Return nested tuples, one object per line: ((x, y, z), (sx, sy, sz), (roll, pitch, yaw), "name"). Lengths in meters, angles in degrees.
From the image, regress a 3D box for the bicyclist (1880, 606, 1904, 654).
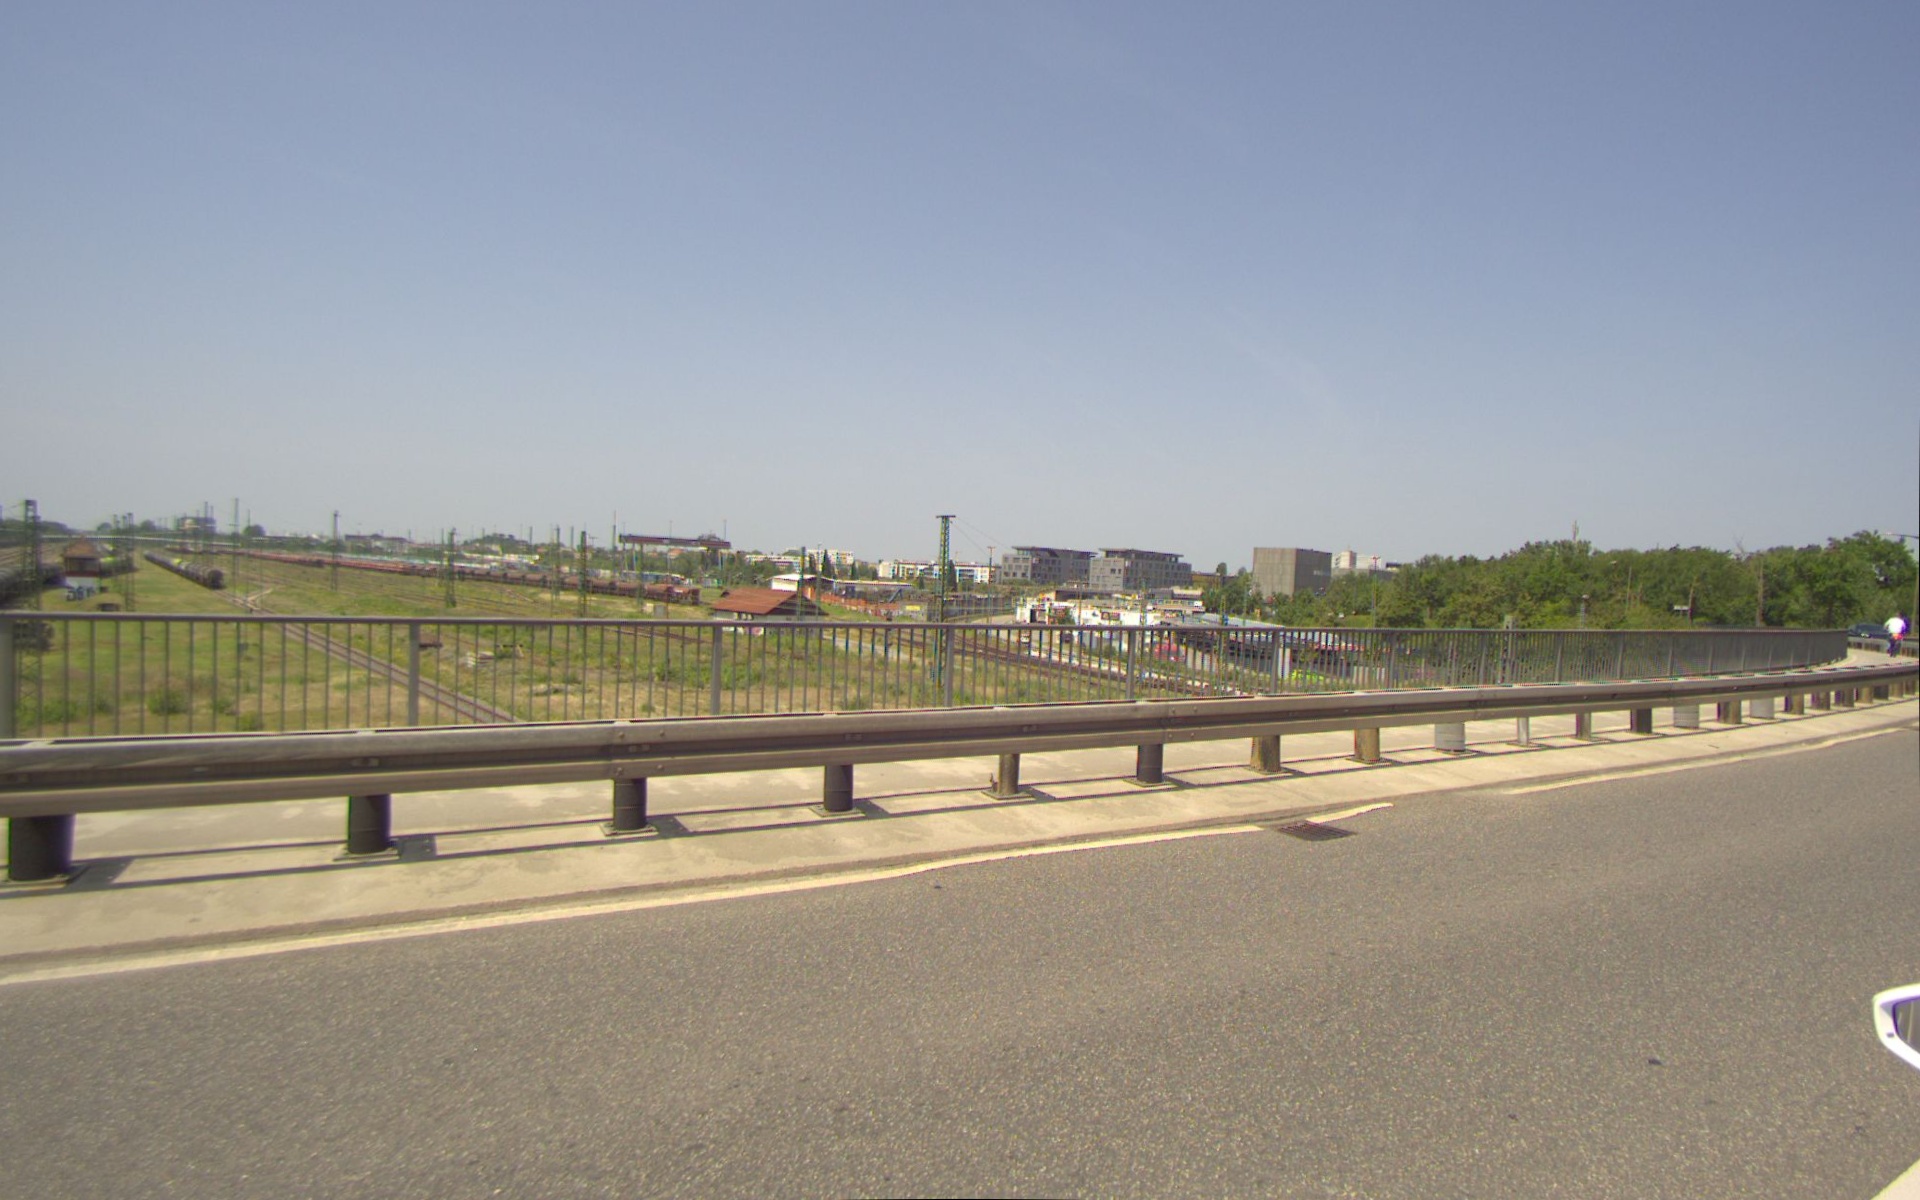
((38.082, 1.219, 41.063), (0.616, 1.911, 0.709), (2, 1, 38), "bicyclist")

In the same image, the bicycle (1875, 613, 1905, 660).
((38.151, 1.463, 41.212), (0.689, 1.826, 2.171), (2, 1, 39), "bicycle")
